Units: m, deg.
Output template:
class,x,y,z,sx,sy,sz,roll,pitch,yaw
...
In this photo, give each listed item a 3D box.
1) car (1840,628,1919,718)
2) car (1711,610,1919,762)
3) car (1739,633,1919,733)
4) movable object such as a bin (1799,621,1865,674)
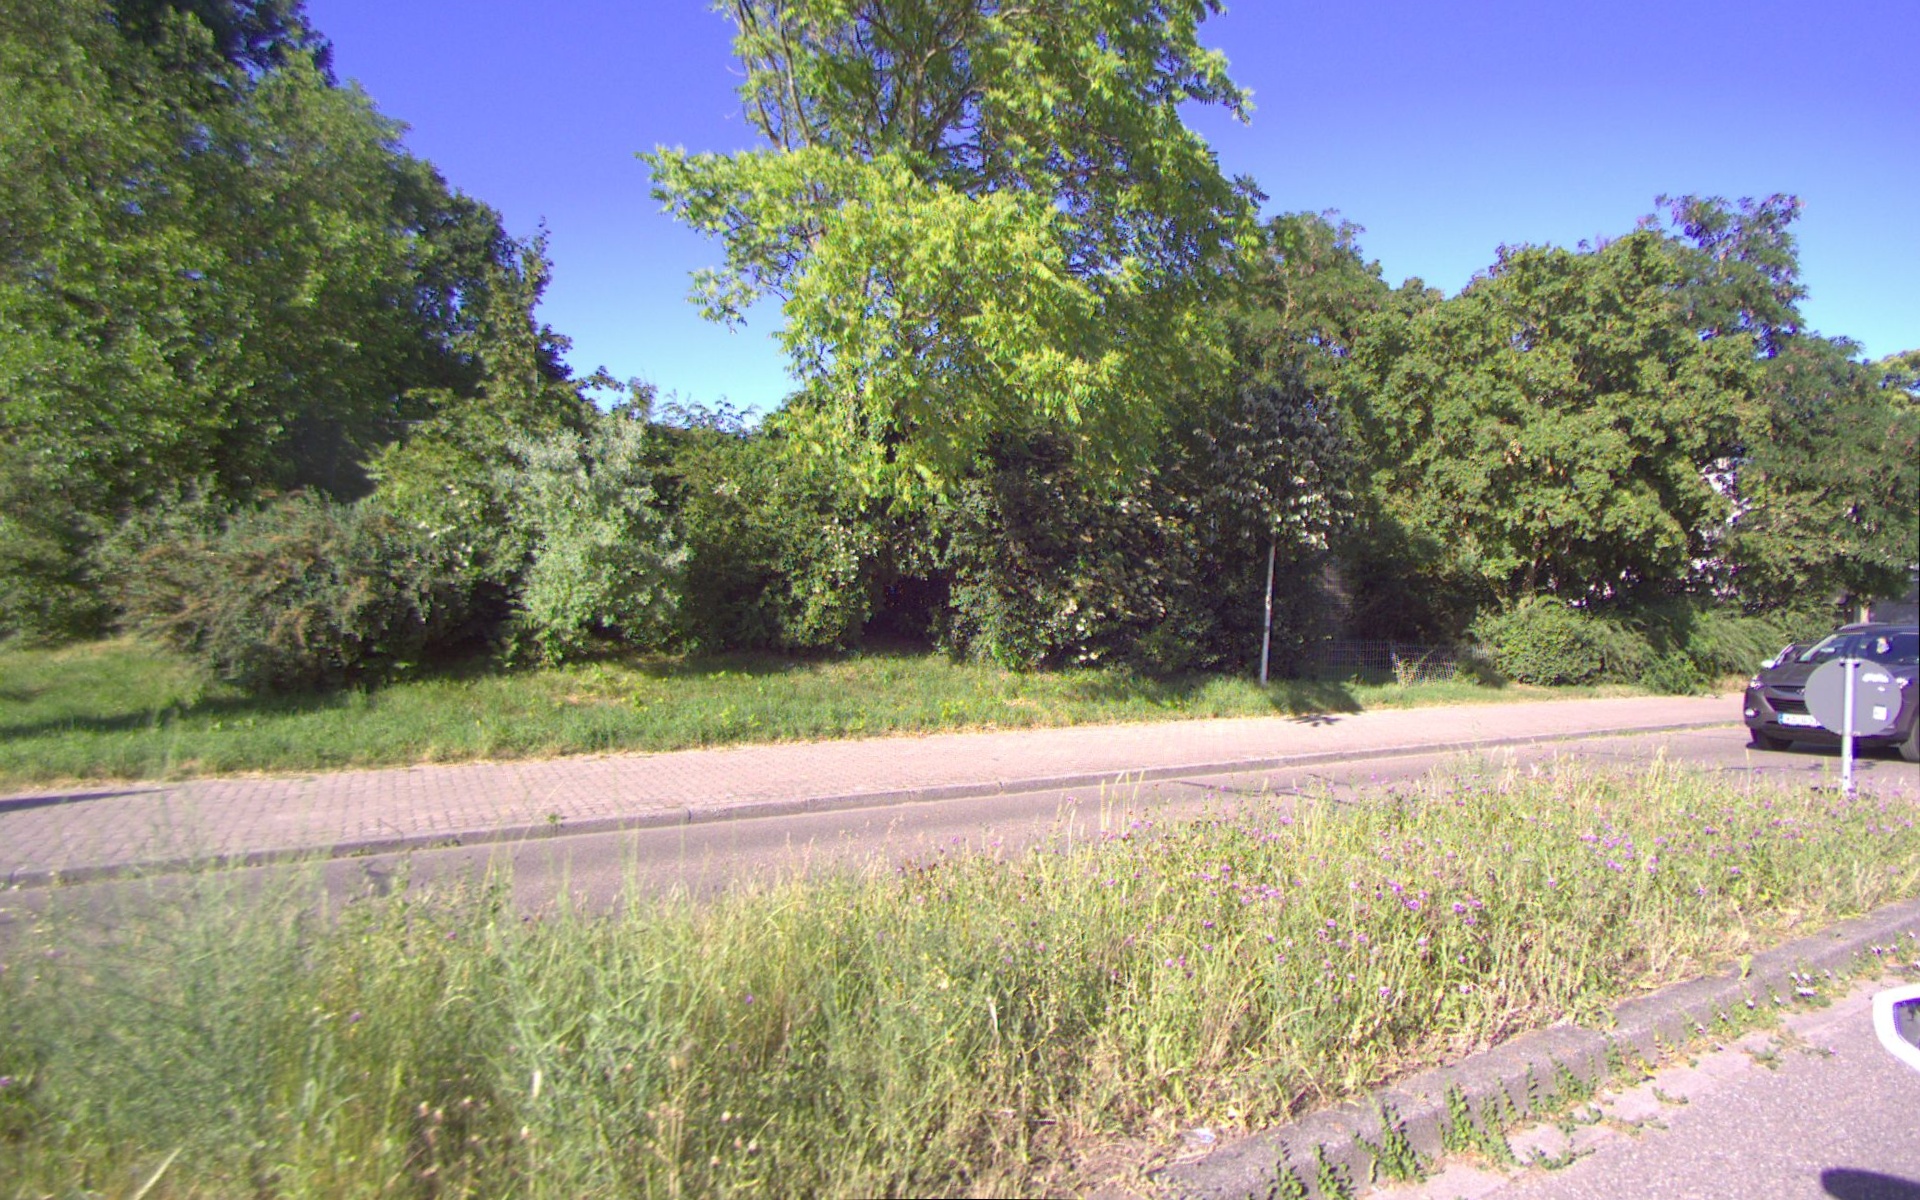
class,x,y,z,sx,sy,sz,roll,pitch,yaw
car,19.415,1.407,19.897,4.200,1.660,1.667,1,-3,-30
car,12.153,1.052,13.134,4.125,1.728,1.909,1,-2,-23
car,15.006,1.358,17.308,3.386,1.548,1.615,1,-2,-36
movable object such as a bin,26.611,1.447,30.651,1.267,1.572,1.250,2,-2,-34
